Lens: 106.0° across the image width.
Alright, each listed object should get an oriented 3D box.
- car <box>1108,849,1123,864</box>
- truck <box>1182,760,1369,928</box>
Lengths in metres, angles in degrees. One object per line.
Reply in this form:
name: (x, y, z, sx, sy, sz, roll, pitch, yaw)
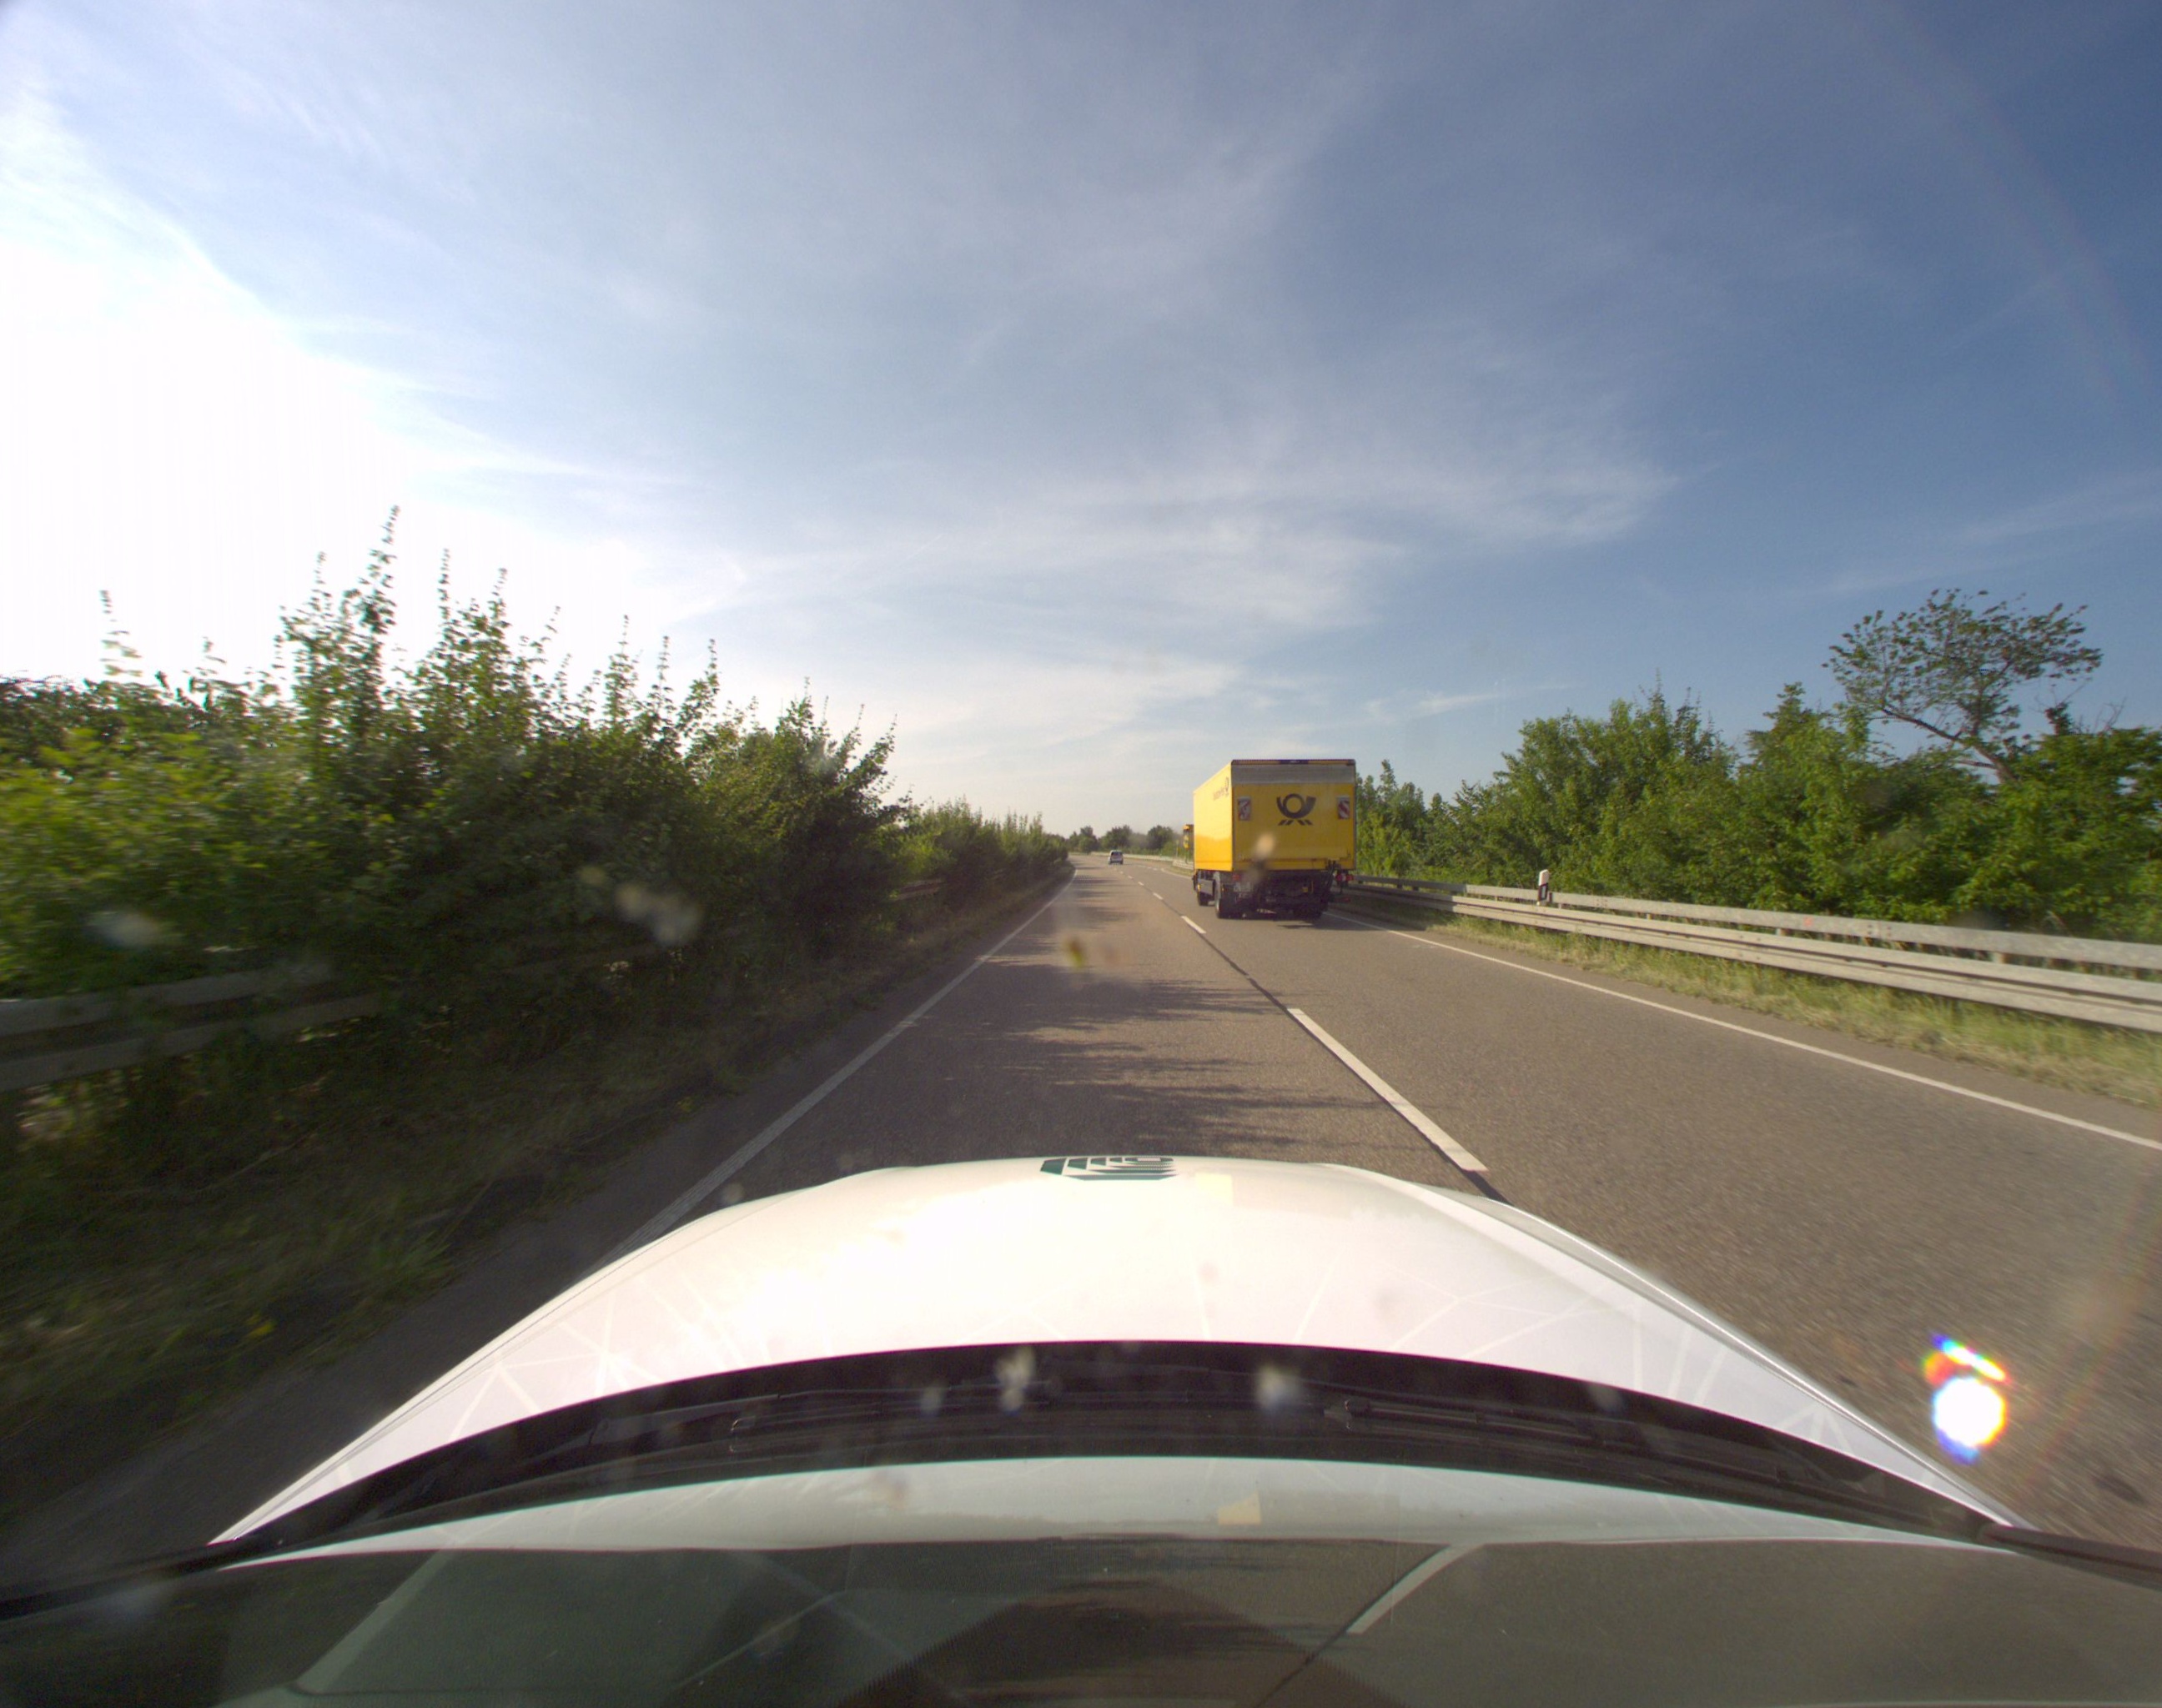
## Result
car: (4.437, 0.309, 104.217, 1.760, 1.882, 3.999, 0, -1, 0)
truck: (4.501, -0.232, 21.353, 2.768, 3.316, 10.495, 0, 0, 2)
